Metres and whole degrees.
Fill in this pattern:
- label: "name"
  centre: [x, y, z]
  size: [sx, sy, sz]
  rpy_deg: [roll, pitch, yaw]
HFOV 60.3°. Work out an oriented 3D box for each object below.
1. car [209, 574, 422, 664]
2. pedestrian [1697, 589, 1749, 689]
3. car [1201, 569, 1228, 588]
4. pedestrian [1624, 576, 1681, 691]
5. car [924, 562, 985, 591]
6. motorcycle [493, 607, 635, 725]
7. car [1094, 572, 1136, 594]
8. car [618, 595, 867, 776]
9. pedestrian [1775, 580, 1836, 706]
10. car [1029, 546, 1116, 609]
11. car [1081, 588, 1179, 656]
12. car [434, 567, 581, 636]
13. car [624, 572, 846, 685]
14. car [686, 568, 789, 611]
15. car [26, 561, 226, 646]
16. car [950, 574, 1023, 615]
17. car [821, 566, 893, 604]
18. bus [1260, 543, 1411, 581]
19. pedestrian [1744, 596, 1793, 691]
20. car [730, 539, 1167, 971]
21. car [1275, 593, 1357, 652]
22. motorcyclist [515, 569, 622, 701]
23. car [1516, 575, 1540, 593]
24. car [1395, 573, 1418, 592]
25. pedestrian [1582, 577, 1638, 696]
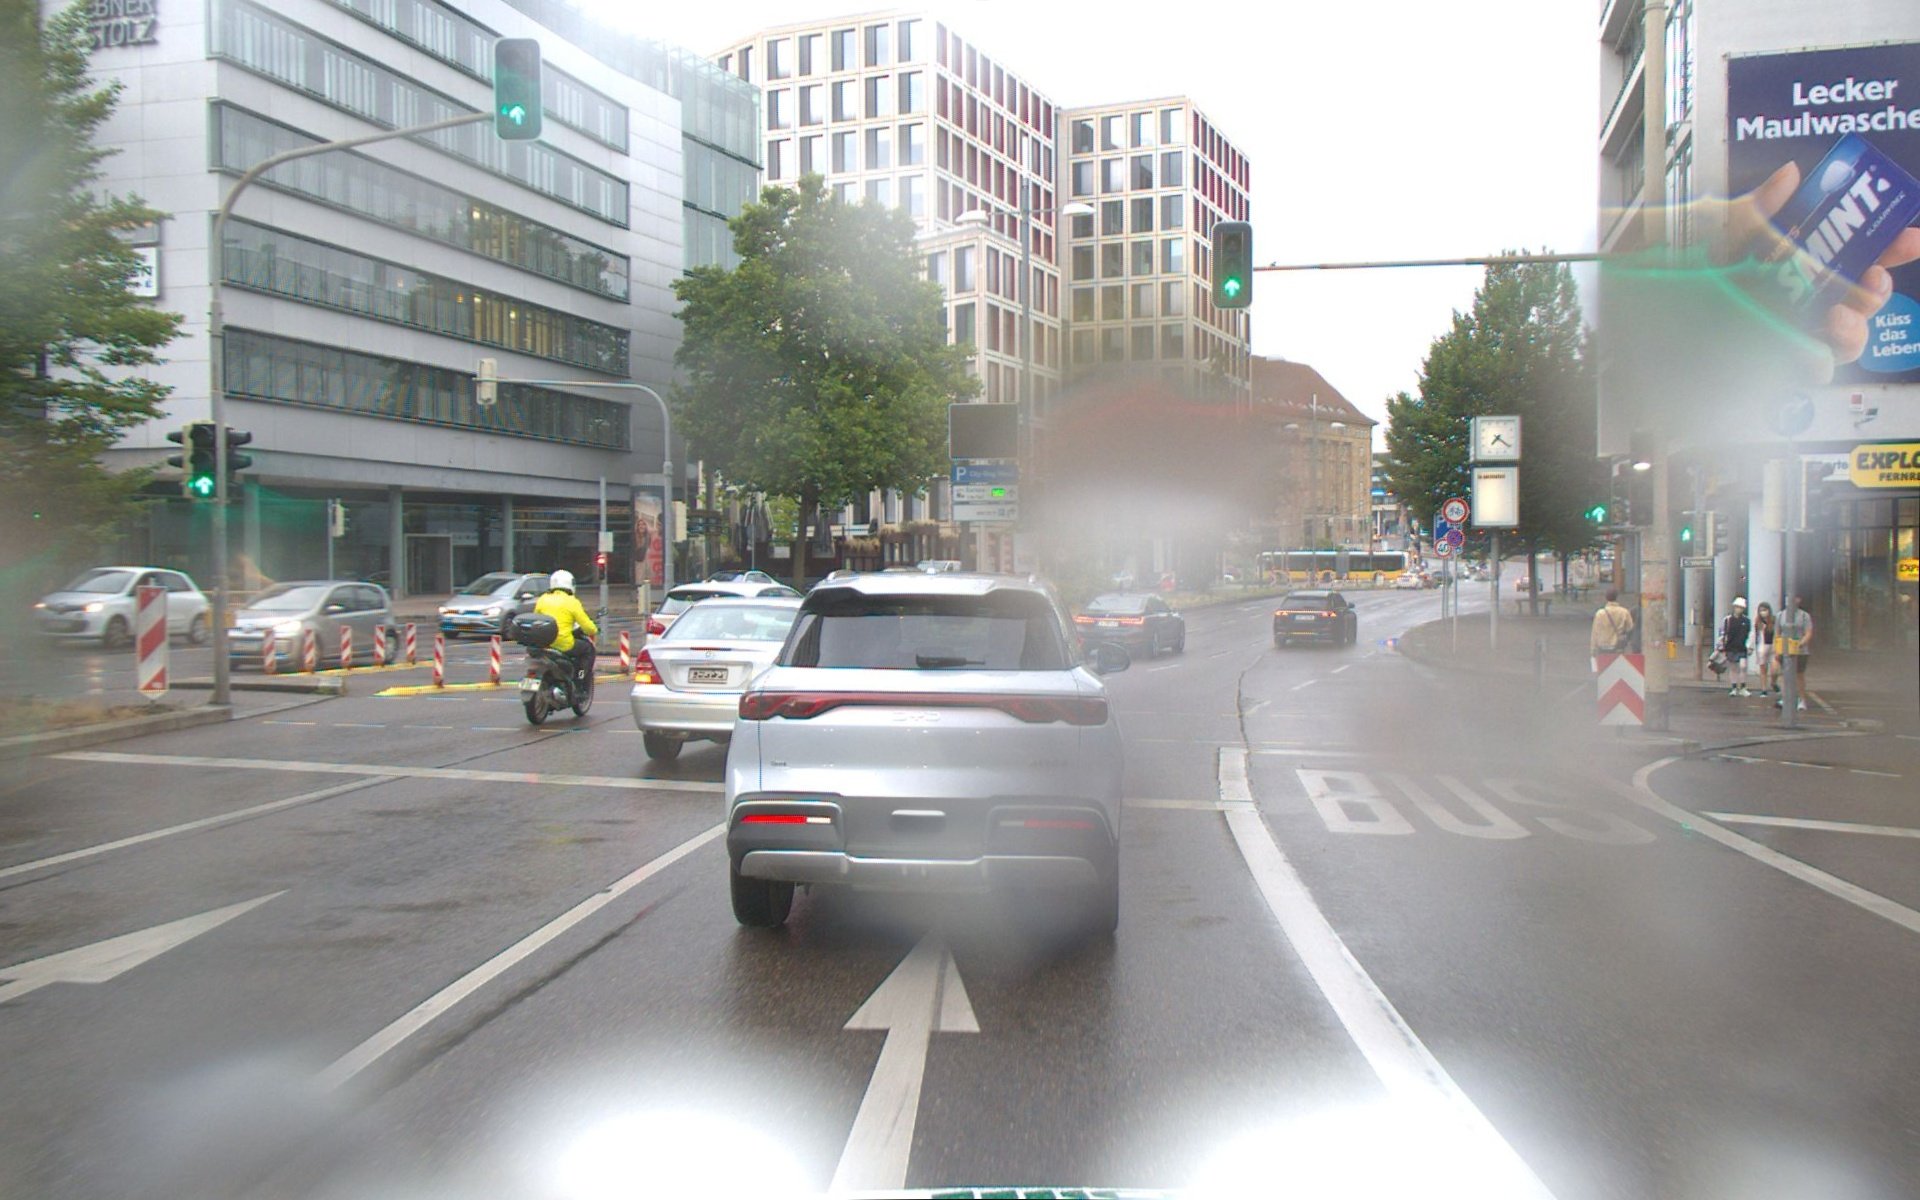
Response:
- label: "car"
  centre: [-10.893, 0.322, 28.253]
  size: [1.654, 1.409, 3.871]
  rpy_deg: [1, -1, 9]
- label: "pedestrian"
  centre: [13.026, 0.653, 28.240]
  size: [0.658, 1.684, 0.650]
  rpy_deg: [1, 0, 38]
- label: "car"
  centre: [24.525, -2.053, 159.382]
  size: [1.575, 1.771, 3.441]
  rpy_deg: [1, -1, 26]
- label: "pedestrian"
  centre: [11.218, 0.520, 26.823]
  size: [0.732, 1.829, 0.817]
  rpy_deg: [0, 1, 15]
- label: "car"
  centre: [-0.250, -1.276, 89.791]
  size: [1.953, 1.514, 4.000]
  rpy_deg: [0, 1, 22]
- label: "motorcycle"
  centre: [-4.335, 0.698, 18.284]
  size: [0.783, 1.205, 2.030]
  rpy_deg: [1, -1, 9]
- label: "car"
  centre: [11.012, -1.203, 117.292]
  size: [1.953, 1.514, 4.000]
  rpy_deg: [0, 1, 22]
- label: "car"
  centre: [-1.881, 0.713, 15.468]
  size: [1.538, 1.432, 4.111]
  rpy_deg: [1, -1, 3]
- label: "pedestrian"
  centre: [12.564, 0.626, 24.571]
  size: [0.658, 1.825, 0.770]
  rpy_deg: [1, 0, 38]
- label: "car"
  centre: [4.018, -0.753, 58.316]
  size: [1.952, 2.049, 4.851]
  rpy_deg: [1, -1, 17]
- label: "car"
  centre: [4.093, 0.528, 39.354]
  size: [1.538, 1.512, 4.002]
  rpy_deg: [1, -1, 18]
- label: "car"
  centre: [-11.157, 0.034, 41.054]
  size: [1.609, 1.609, 4.088]
  rpy_deg: [1, 0, 16]
- label: "car"
  centre: [-3.234, 0.414, 24.586]
  size: [1.671, 1.512, 4.001]
  rpy_deg: [1, -1, 18]
- label: "car"
  centre: [-8.262, -0.428, 61.958]
  size: [1.775, 1.536, 5.199]
  rpy_deg: [0, 1, 18]
- label: "car"
  centre: [-16.813, 0.090, 33.537]
  size: [1.603, 1.598, 3.721]
  rpy_deg: [1, -1, 12]
- label: "car"
  centre: [1.009, -0.239, 60.799]
  size: [1.597, 1.462, 3.910]
  rpy_deg: [0, 1, 18]
- label: "car"
  centre: [-4.445, -0.661, 72.072]
  size: [1.597, 1.586, 4.595]
  rpy_deg: [0, 1, 18]
- label: "bus"
  centre: [43.396, -4.408, 191.217]
  size: [16.612, 4.134, 4.438]
  rpy_deg: [1, -1, 20]
- label: "pedestrian"
  centre: [13.626, 0.729, 27.874]
  size: [0.614, 1.570, 0.650]
  rpy_deg: [1, 0, 38]
- label: "car"
  centre: [0.022, 0.641, 8.698]
  size: [1.739, 1.708, 4.001]
  rpy_deg: [1, -1, 2]
- label: "car"
  centre: [9.757, 0.606, 45.127]
  size: [1.658, 1.512, 4.001]
  rpy_deg: [1, -1, 20]
- label: "motorcyclist"
  centre: [-4.334, 0.378, 18.387]
  size: [0.753, 1.404, 1.119]
  rpy_deg: [1, -1, 9]
- label: "car"
  centre: [51.137, -1.451, 148.934]
  size: [1.660, 1.512, 3.997]
  rpy_deg: [1, -1, 24]
- label: "car"
  centre: [40.446, -1.541, 149.757]
  size: [1.848, 1.671, 4.002]
  rpy_deg: [1, 0, 17]
- label: "pedestrian"
  centre: [10.210, 0.555, 26.000]
  size: [0.732, 1.829, 0.817]
  rpy_deg: [0, 1, 15]
